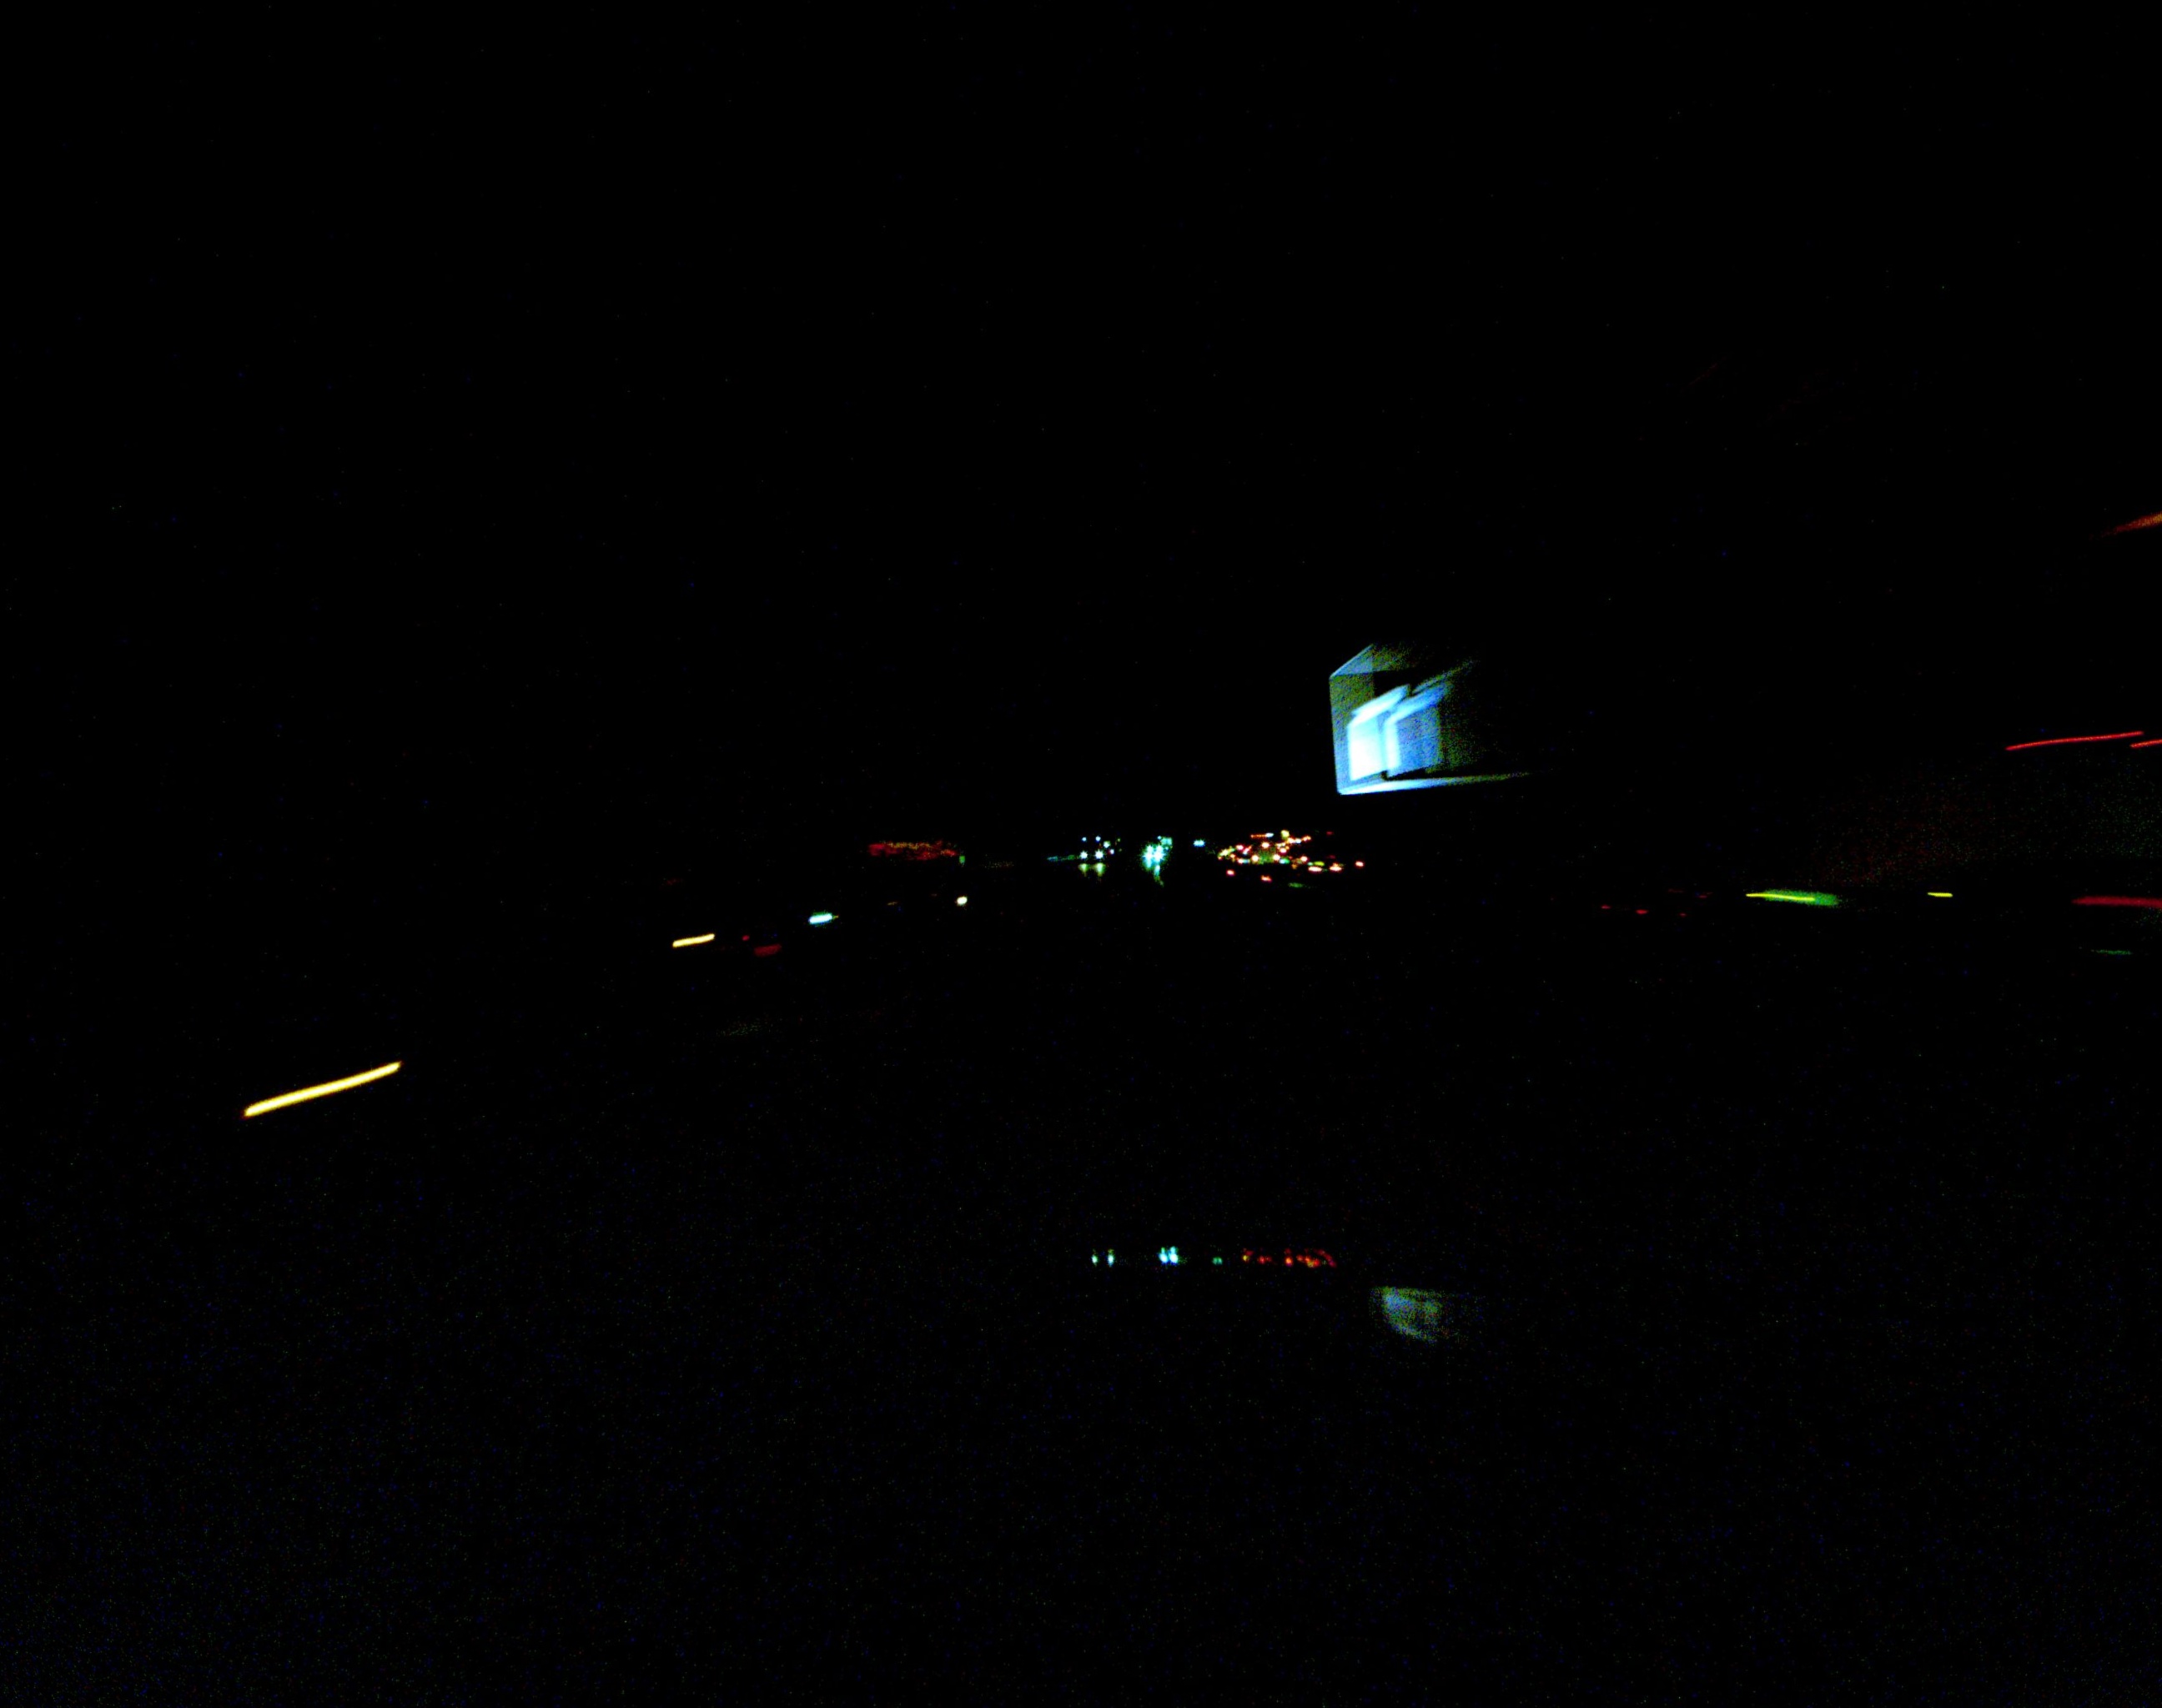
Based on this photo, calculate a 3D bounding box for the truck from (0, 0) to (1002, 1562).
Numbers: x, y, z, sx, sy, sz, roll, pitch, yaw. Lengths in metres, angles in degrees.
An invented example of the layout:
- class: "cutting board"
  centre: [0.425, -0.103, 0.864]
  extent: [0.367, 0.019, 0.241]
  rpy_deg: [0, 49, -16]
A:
- class: "truck"
  centre: [-3.994, -0.426, 7.595]
  extent: [3.490, 4.110, 18.711]
  rpy_deg: [-3, 0, 2]

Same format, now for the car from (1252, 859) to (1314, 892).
- class: "car"
  centre: [8.970, 0.921, 34.070]
  extent: [1.758, 1.346, 4.292]
  rpy_deg: [-1, 0, 2]

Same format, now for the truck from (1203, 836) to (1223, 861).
- class: "truck"
  centre: [20.127, -0.886, 116.435]
  extent: [2.659, 3.571, 8.553]
  rpy_deg: [-3, 1, 9]

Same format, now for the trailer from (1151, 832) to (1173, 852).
- class: "trailer"
  centre: [17.590, -2.744, 163.572]
  extent: [2.837, 3.952, 15.773]
  rpy_deg: [-3, 1, 12]

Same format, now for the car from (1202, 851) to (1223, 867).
- class: "car"
  centre: [13.262, 0.487, 76.731]
  extent: [1.837, 1.443, 4.506]
  rpy_deg: [-1, 1, 7]

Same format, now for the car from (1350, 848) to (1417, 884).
- class: "car"
  centre: [17.350, 0.644, 43.868]
  extent: [1.998, 1.948, 4.987]
  rpy_deg: [-1, 1, 2]

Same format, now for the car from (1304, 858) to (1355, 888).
- class: "car"
  centre: [13.614, 0.989, 41.829]
  extent: [1.610, 1.471, 4.074]
  rpy_deg: [0, 1, 2]

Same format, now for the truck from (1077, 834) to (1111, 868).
- class: "truck"
  centre: [1.779, -0.486, 99.474]
  extent: [2.872, 3.819, 8.055]
  rpy_deg: [-4, 3, 10]

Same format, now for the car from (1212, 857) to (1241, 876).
- class: "car"
  centre: [12.313, 1.029, 64.465]
  extent: [1.758, 1.536, 4.716]
  rpy_deg: [-1, 0, 3]

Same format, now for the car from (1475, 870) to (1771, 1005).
- class: "car"
  centre: [7.758, 1.081, 11.421]
  extent: [1.684, 1.557, 4.000]
  rpy_deg: [-1, 0, 2]

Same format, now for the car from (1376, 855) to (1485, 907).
- class: "car"
  centre: [12.409, 0.906, 27.325]
  extent: [1.998, 1.651, 4.454]
  rpy_deg: [-1, 0, 2]

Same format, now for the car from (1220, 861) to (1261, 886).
- class: "car"
  centre: [9.533, 1.149, 45.672]
  extent: [1.758, 1.346, 4.636]
  rpy_deg: [-1, 0, 3]

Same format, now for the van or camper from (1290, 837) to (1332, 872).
- class: "van or camper"
  centre: [19.640, -0.046, 65.156]
  extent: [2.450, 2.745, 6.491]
  rpy_deg: [-1, 1, 8]

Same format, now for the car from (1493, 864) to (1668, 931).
- class: "car"
  centre: [11.800, 0.960, 18.316]
  extent: [1.537, 1.328, 4.220]
  rpy_deg: [-1, 0, 2]

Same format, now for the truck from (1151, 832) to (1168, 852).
- class: "truck"
  centre: [16.087, -2.532, 155.917]
  extent: [2.898, 3.949, 4.003]
  rpy_deg: [-3, 1, 12]

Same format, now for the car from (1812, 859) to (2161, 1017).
- class: "car"
  centre: [11.608, 0.844, 9.102]
  extent: [1.644, 1.474, 4.363]
  rpy_deg: [-1, 1, 3]

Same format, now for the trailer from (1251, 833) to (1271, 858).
- class: "trailer"
  centre: [32.281, -1.701, 136.485]
  extent: [3.441, 4.217, 12.841]
  rpy_deg: [-1, 2, 13]

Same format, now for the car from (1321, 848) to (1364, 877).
- class: "car"
  centre: [18.896, 0.602, 55.118]
  extent: [1.843, 1.912, 4.564]
  rpy_deg: [0, 2, 5]

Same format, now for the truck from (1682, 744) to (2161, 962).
- class: "truck"
  centre: [16.293, -0.071, 15.196]
  extent: [2.381, 3.241, 7.721]
  rpy_deg: [-1, 1, 0]

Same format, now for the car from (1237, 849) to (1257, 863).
- class: "car"
  centre: [18.982, 0.190, 87.018]
  extent: [1.837, 1.443, 4.506]
  rpy_deg: [-1, 1, 7]

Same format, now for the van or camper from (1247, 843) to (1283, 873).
- class: "van or camper"
  centre: [16.815, 0.292, 69.845]
  extent: [2.260, 2.580, 6.688]
  rpy_deg: [0, 1, 6]

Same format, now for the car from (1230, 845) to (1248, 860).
- class: "car"
  centre: [23.009, -0.189, 110.573]
  extent: [1.998, 2.002, 4.001]
  rpy_deg: [-2, 1, 5]

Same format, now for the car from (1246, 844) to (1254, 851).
- class: "car"
  centre: [36.407, -1.386, 163.764]
  extent: [1.603, 1.434, 4.002]
  rpy_deg: [-1, 1, 11]

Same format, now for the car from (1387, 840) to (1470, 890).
- class: "car"
  centre: [16.803, 0.475, 37.054]
  extent: [2.136, 2.254, 4.564]
  rpy_deg: [-1, 0, 3]

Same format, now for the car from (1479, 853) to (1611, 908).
- class: "car"
  centre: [16.181, 0.850, 26.821]
  extent: [1.866, 1.690, 4.391]
  rpy_deg: [-1, 1, -2]

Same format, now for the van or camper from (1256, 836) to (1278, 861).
- class: "van or camper"
  centre: [26.007, -0.766, 106.308]
  extent: [2.273, 3.360, 5.696]
  rpy_deg: [-1, 1, 7]

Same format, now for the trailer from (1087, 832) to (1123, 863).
- class: "trailer"
  centre: [3.619, -1.047, 109.342]
  extent: [2.879, 3.909, 12.892]
  rpy_deg: [-4, 2, 11]

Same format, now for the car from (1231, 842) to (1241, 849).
- class: "car"
  centre: [38.947, -2.206, 190.935]
  extent: [2.142, 1.696, 5.116]
  rpy_deg: [-1, 1, 13]

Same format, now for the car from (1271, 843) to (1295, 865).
- class: "car"
  centre: [22.874, 0.003, 86.243]
  extent: [1.837, 2.357, 5.449]
  rpy_deg: [-1, 1, 7]

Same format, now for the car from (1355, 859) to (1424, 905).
- class: "car"
  centre: [12.969, 1.122, 32.164]
  extent: [1.741, 1.734, 4.002]
  rpy_deg: [0, 1, 7]

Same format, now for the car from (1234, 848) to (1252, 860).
- class: "car"
  centre: [20.976, -0.034, 98.512]
  extent: [1.837, 1.443, 4.506]
  rpy_deg: [-1, 1, 7]

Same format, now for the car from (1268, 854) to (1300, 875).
- class: "car"
  centre: [15.489, 0.796, 58.089]
  extent: [1.752, 1.444, 3.841]
  rpy_deg: [0, 2, 5]

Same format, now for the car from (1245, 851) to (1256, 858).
- class: "car"
  centre: [33.344, 0.047, 149.481]
  extent: [1.604, 1.433, 4.001]
  rpy_deg: [0, 0, 5]
